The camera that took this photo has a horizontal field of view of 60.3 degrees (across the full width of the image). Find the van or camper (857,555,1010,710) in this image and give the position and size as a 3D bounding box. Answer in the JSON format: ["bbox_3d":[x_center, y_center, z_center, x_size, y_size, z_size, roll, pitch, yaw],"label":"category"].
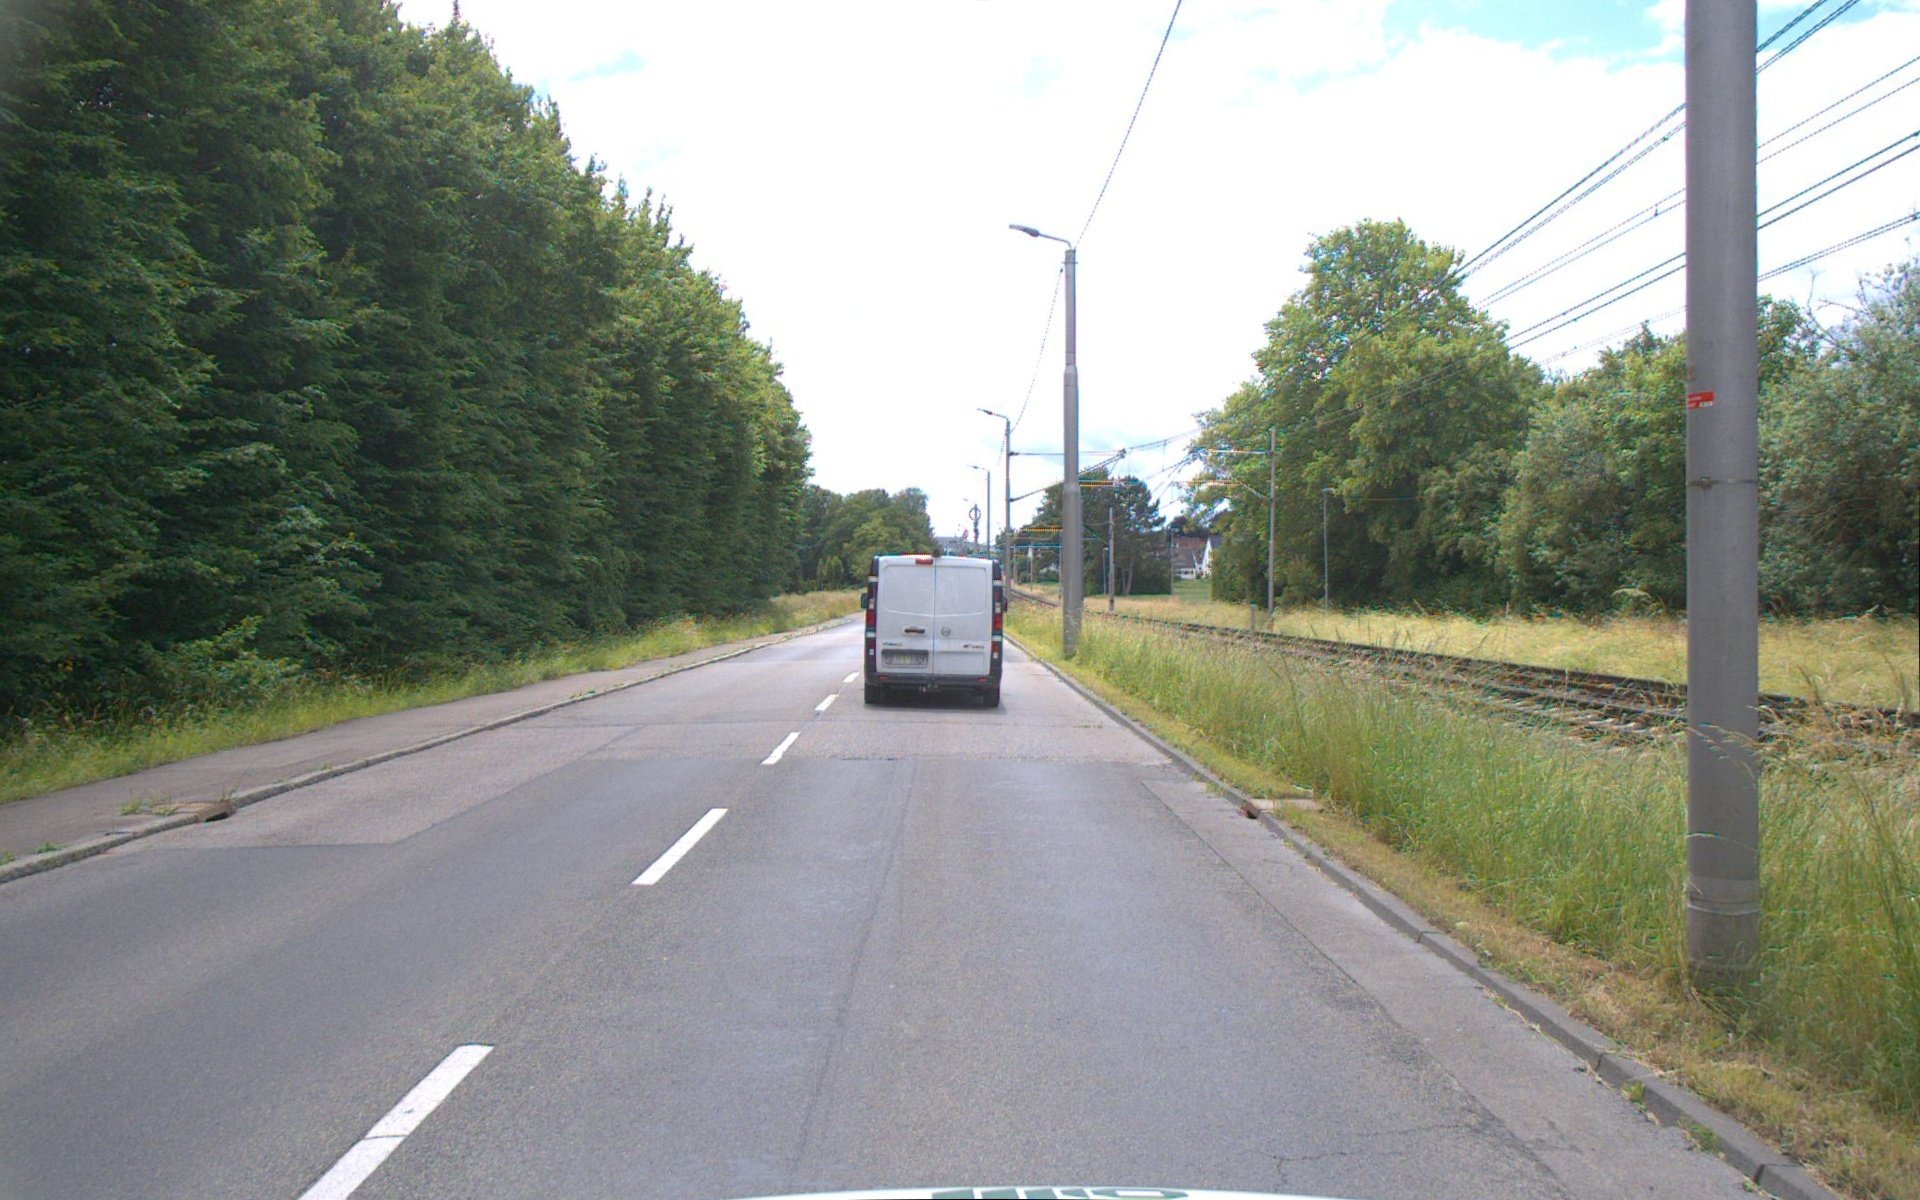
[{"bbox_3d":[-0.322,0.386,23.195,1.902,1.930,4.285,1,1,0],"label":"van or camper"}]
